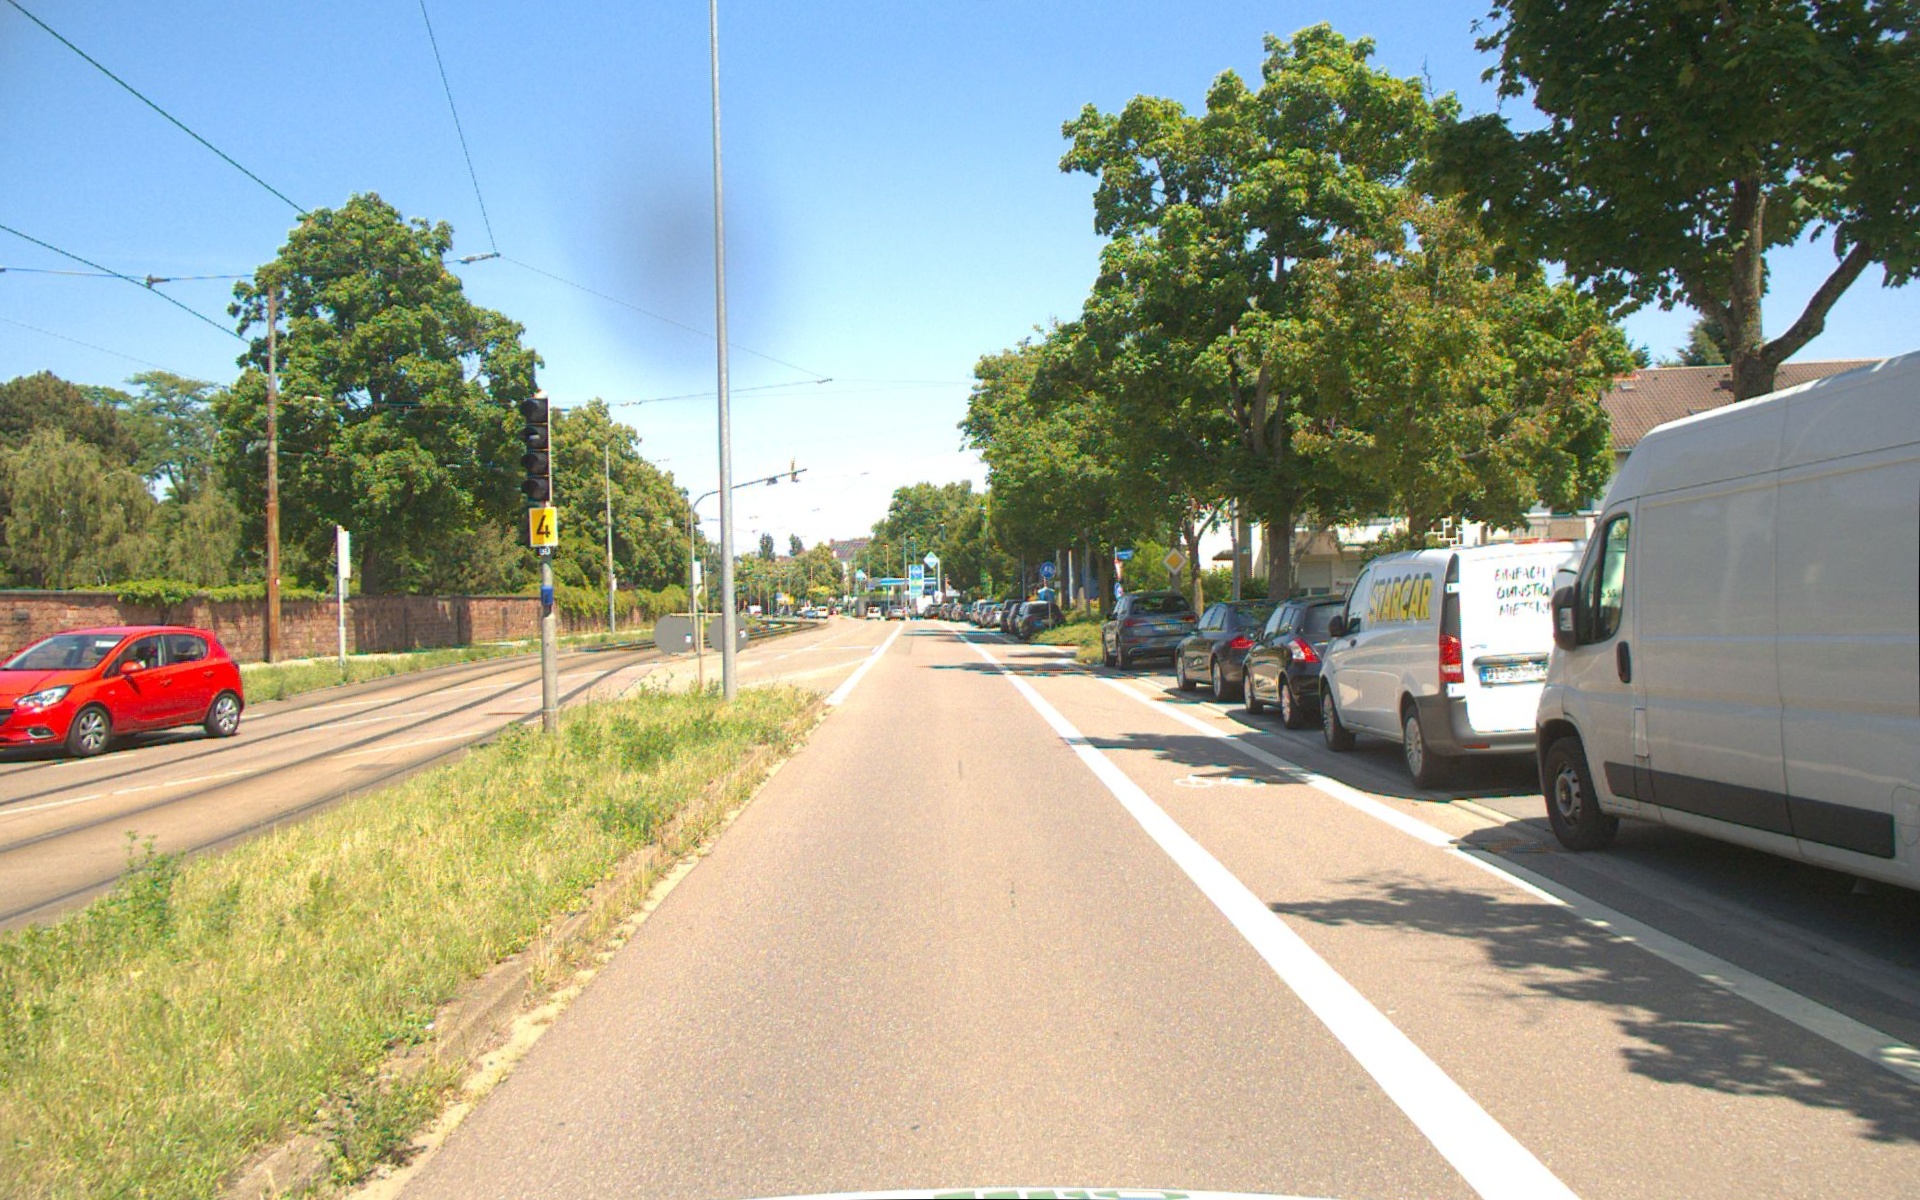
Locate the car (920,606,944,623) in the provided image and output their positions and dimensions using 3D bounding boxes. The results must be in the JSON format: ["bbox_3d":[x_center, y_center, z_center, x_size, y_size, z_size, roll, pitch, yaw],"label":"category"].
[{"bbox_3d":[-3.036,1.601,178.504,1.724,1.659,4.313,-4,0,-10],"label":"car"}]

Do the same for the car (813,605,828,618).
[{"bbox_3d":[-21.754,1.752,257.526,1.724,1.907,4.313,-4,0,-10],"label":"car"}]

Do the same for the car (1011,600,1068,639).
[{"bbox_3d":[3.280,0.787,69.066,1.804,1.461,4.821,-4,0,-3],"label":"car"}]

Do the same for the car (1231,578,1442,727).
[{"bbox_3d":[4.561,0.588,20.571,1.677,1.567,3.840,-4,0,0],"label":"car"}]

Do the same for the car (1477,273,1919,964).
[{"bbox_3d":[4.645,0.036,8.161,1.958,2.682,6.140,-4,0,-2],"label":"car"}]

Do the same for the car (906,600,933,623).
[{"bbox_3d":[-4.656,1.332,188.576,1.966,2.499,6.092,-4,0,-11],"label":"car"}]

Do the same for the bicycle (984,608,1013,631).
[{"bbox_3d":[2.457,1.254,106.527,1.737,1.249,0.684,-6,-1,3],"label":"bicycle"}]

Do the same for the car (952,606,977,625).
[{"bbox_3d":[0.406,1.408,151.536,1.674,1.518,5.032,-4,0,-5],"label":"car"}]

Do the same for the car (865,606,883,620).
[{"bbox_3d":[-10.823,1.652,207.535,1.723,1.659,4.315,-4,0,-9],"label":"car"}]

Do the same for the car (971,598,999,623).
[{"bbox_3d":[1.928,0.822,128.543,1.804,1.825,4.351,-4,0,-3],"label":"car"}]

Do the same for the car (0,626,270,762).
[{"bbox_3d":[-10.639,1.090,20.673,1.670,1.438,4.285,-1,0,10],"label":"car"}]

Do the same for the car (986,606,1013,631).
[{"bbox_3d":[2.555,1.196,108.569,1.488,1.556,3.815,-4,0,-1],"label":"car"}]

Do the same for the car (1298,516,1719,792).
[{"bbox_3d":[4.591,0.393,14.859,1.957,1.911,5.276,-4,0,0],"label":"car"}]

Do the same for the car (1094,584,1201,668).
[{"bbox_3d":[4.166,0.583,37.452,1.678,1.661,4.706,-4,-1,-2],"label":"car"}]

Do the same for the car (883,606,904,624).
[{"bbox_3d":[-6.723,1.468,166.290,1.722,1.659,4.317,-4,0,-7],"label":"car"}]

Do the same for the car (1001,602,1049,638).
[{"bbox_3d":[3.141,0.956,80.959,1.805,1.556,4.350,-4,0,-4],"label":"car"}]

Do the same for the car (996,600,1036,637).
[{"bbox_3d":[2.908,0.933,86.660,1.803,1.736,4.626,-4,0,0],"label":"car"}]

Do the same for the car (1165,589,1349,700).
[{"bbox_3d":[4.461,0.632,25.559,1.678,1.443,4.705,-4,0,-3],"label":"car"}]

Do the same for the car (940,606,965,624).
[{"bbox_3d":[-0.742,1.486,162.682,1.676,1.589,4.312,-4,0,-11],"label":"car"}]
